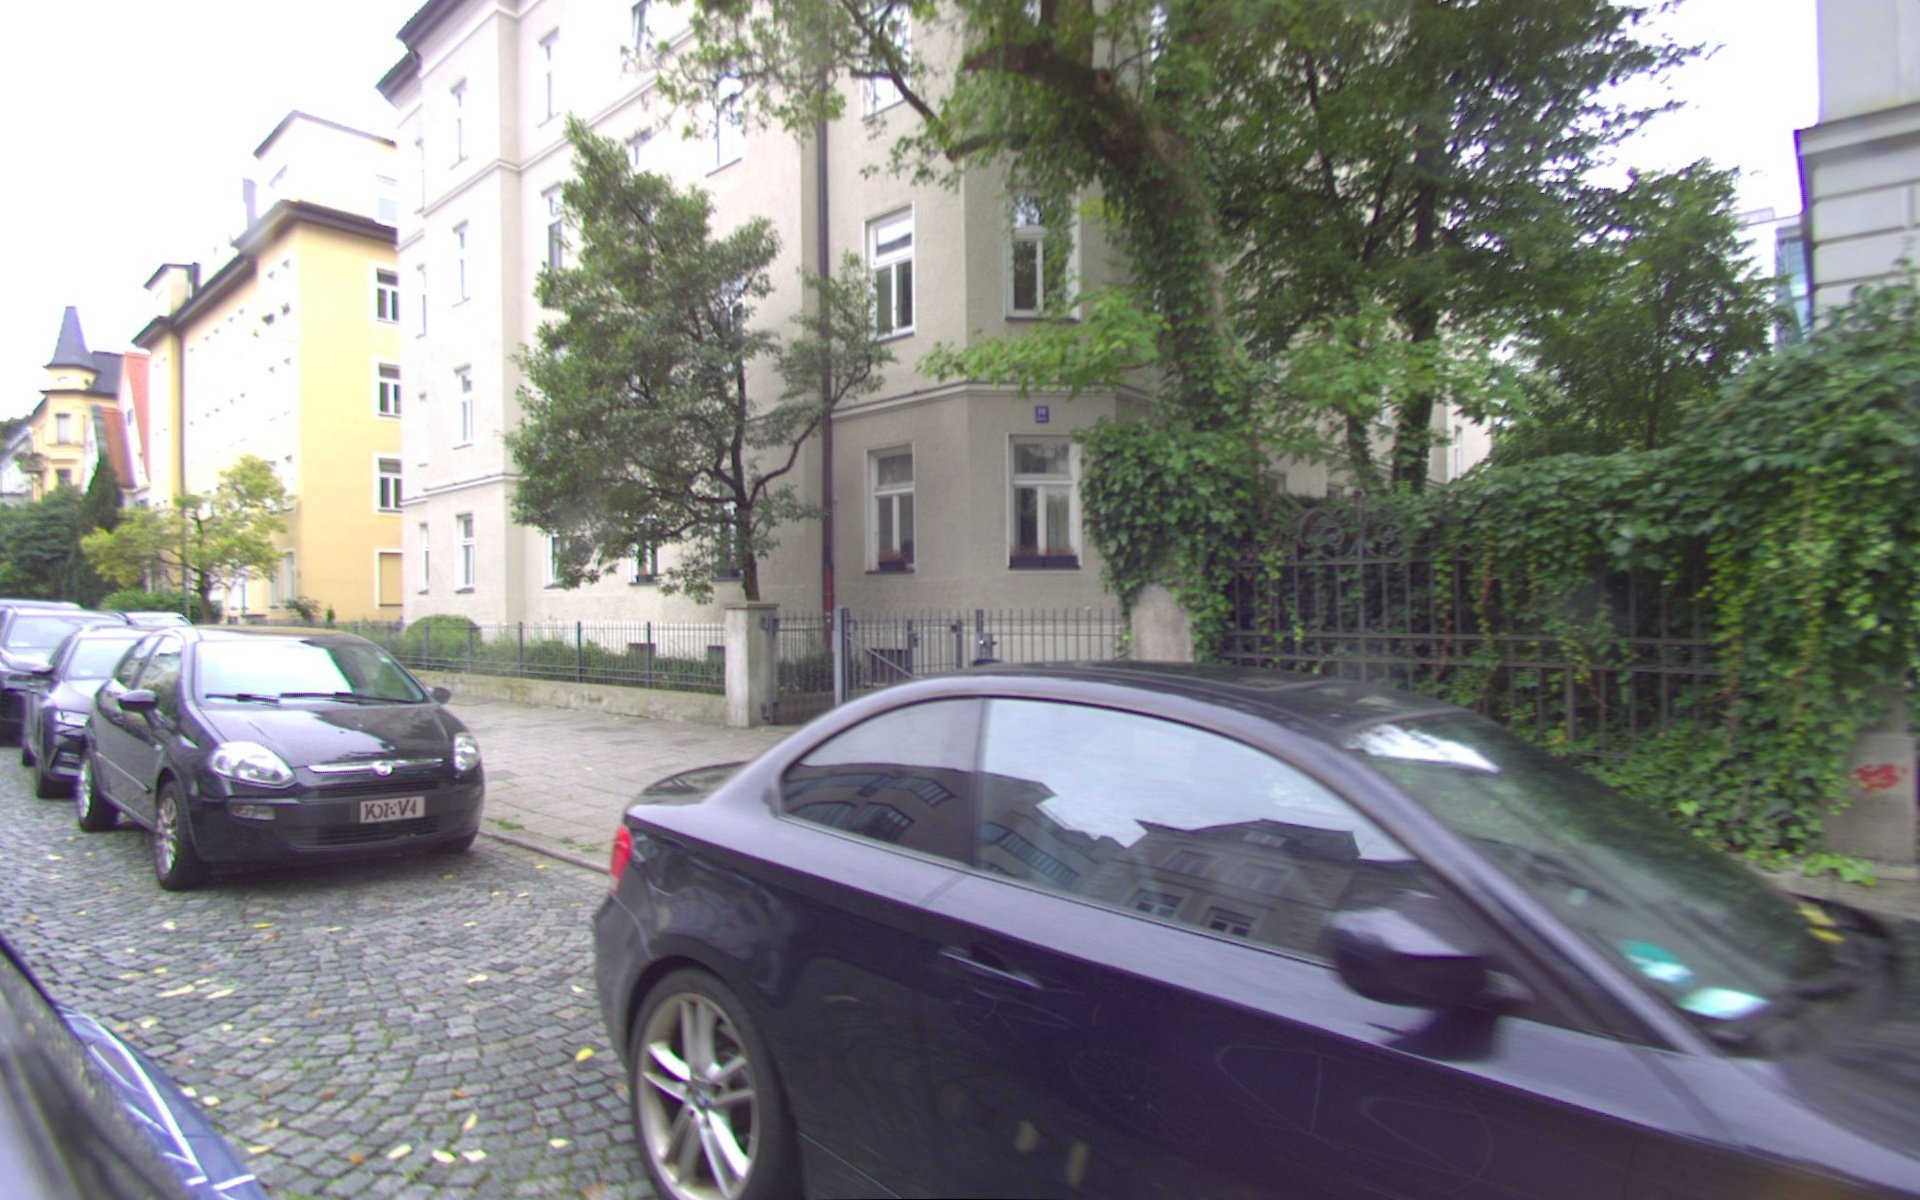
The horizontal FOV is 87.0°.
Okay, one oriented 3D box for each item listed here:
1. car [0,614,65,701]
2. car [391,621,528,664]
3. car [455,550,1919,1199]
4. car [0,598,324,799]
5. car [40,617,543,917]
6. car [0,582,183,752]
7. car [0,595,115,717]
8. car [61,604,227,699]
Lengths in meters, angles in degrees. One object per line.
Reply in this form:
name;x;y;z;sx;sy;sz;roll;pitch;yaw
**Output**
car;-20.915;1.209;21.690;4.399;1.748;1.847;-2;-3;39
car;-17.926;1.487;36.347;1.833;1.434;4.024;-1;-1;42
car;0.776;0.732;2.270;4.494;1.428;1.765;-2;-4;41
car;-8.440;0.855;10.406;5.016;1.573;1.957;-2;-3;43
car;-4.699;0.865;6.875;4.166;1.455;1.646;-1;-2;39
car;-12.471;0.852;13.729;5.174;1.932;1.972;-2;-4;41
car;-16.762;0.960;17.999;4.824;1.932;1.854;-2;-3;41
car;-17.755;1.058;21.932;4.654;1.748;1.925;-2;2;41
